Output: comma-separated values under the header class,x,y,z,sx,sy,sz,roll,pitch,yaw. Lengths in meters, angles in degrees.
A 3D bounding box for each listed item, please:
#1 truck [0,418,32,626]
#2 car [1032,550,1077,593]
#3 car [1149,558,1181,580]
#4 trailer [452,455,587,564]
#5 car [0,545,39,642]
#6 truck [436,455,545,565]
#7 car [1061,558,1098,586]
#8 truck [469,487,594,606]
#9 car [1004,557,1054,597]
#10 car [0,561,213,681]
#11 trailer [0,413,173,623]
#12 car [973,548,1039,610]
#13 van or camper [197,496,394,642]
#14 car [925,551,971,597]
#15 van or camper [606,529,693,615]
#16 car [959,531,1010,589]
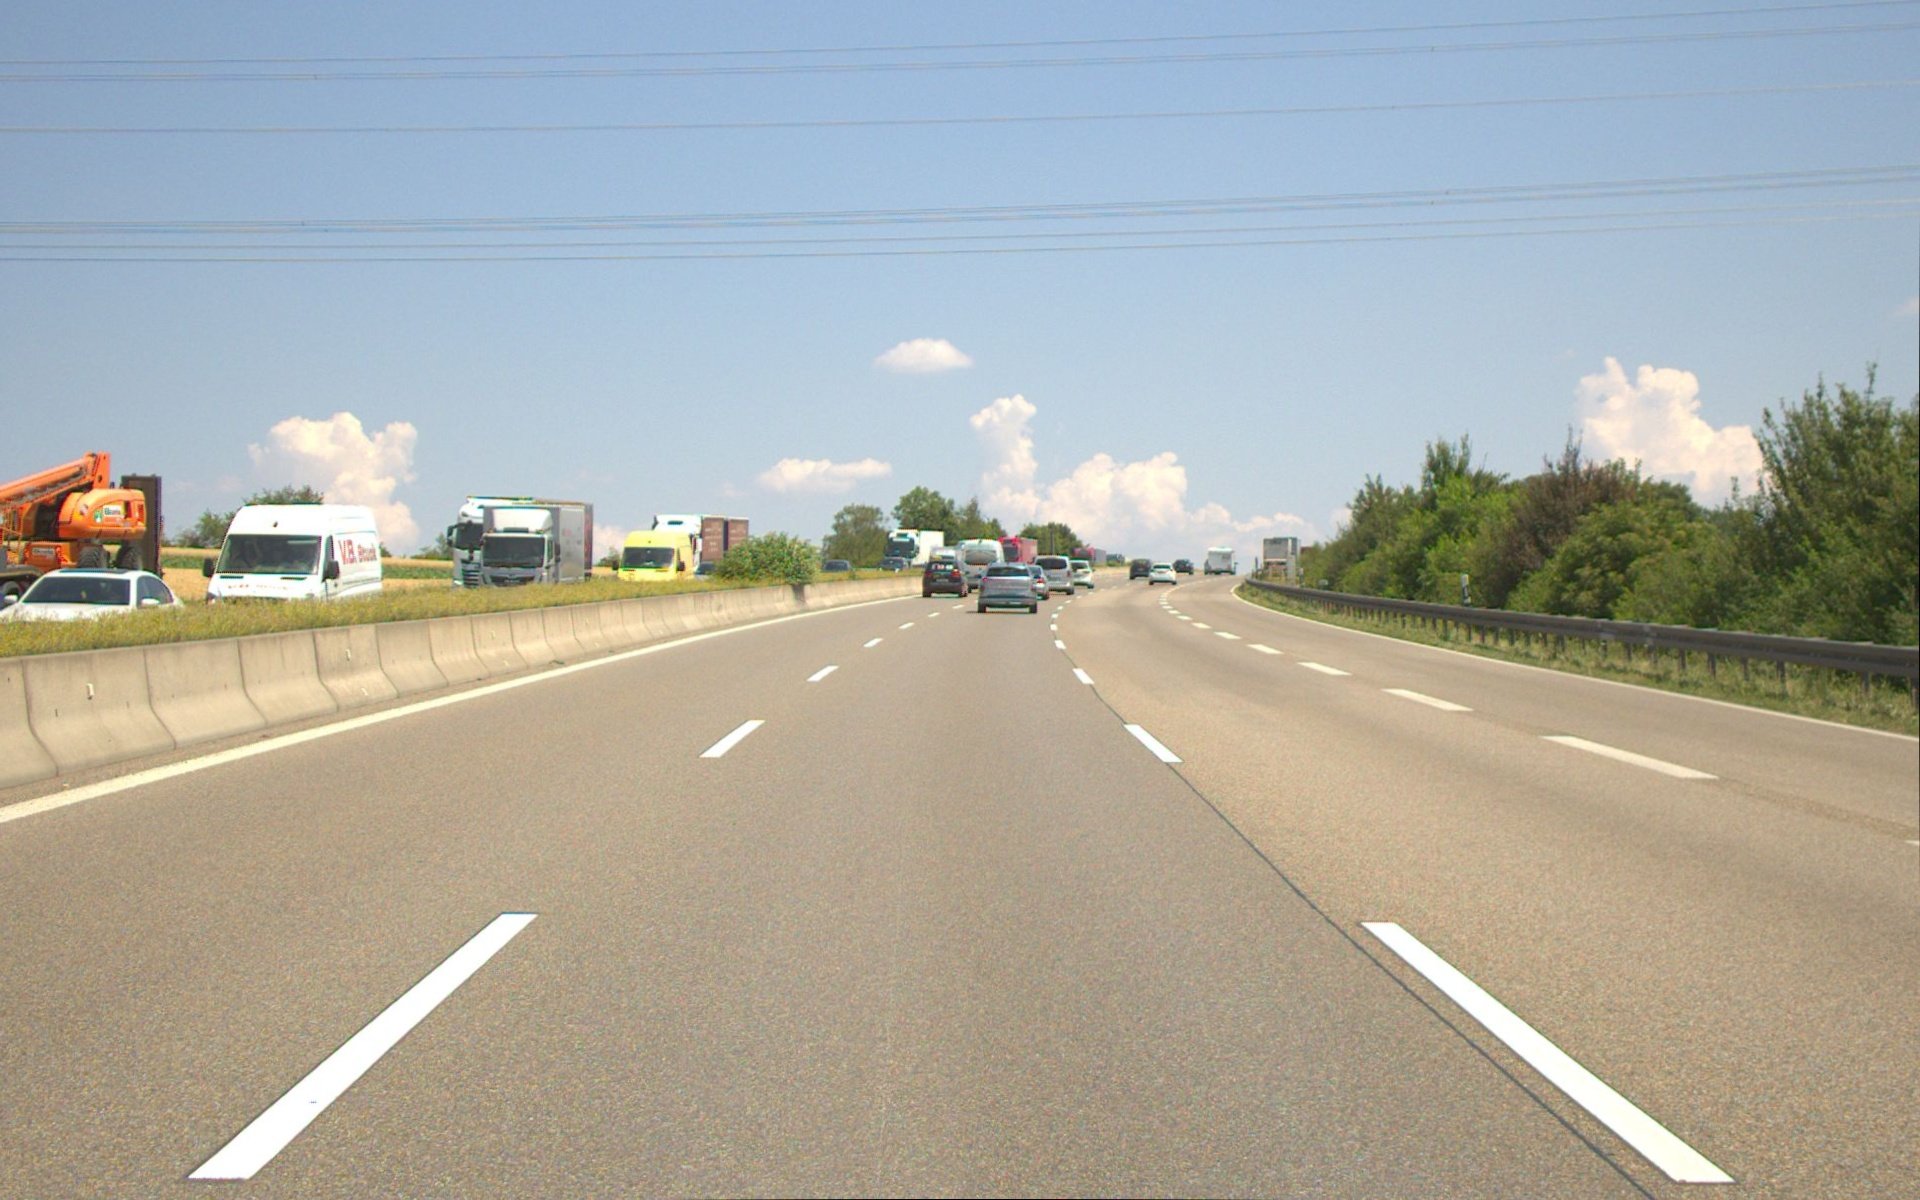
class,x,y,z,sx,sy,sz,roll,pitch,yaw
truck,-19.487,-1.477,63.923,2.776,3.924,6.138,1,1,0
car,4.517,-1.358,163.756,1.994,1.897,3.999,1,-2,3
car,13.576,-2.056,227.890,1.902,1.437,3.999,1,1,6
trailer,-17.411,-3.492,136.851,2.793,4.091,14.006,1,1,3
car,-15.494,-0.111,52.017,1.819,1.474,4.503,1,1,1
truck,-17.765,-3.367,130.350,2.853,4.013,6.514,1,0,3
car,6.932,-1.624,198.970,1.994,1.546,4.000,2,1,3
truck,-14.001,-1.774,112.843,2.936,3.730,7.779,1,1,1
car,2.848,-0.936,142.688,1.993,1.579,4.000,0,-1,0
car,-12.177,0.252,48.946,1.926,1.582,5.669,1,1,-1
trailer,-19.381,-1.625,71.067,2.839,3.944,13.728,1,1,1
car,1.419,-0.638,106.873,1.993,1.744,3.999,1,-2,0
van or camper,-11.843,-0.551,61.836,2.067,2.455,7.520,-1,0,0
car,-0.504,-1.132,148.509,1.847,1.854,4.205,1,2,1
van or camper,-10.159,-0.942,112.906,2.084,2.698,6.139,1,1,2
car,1.221,-1.949,168.584,2.180,2.616,4.671,1,-2,4
